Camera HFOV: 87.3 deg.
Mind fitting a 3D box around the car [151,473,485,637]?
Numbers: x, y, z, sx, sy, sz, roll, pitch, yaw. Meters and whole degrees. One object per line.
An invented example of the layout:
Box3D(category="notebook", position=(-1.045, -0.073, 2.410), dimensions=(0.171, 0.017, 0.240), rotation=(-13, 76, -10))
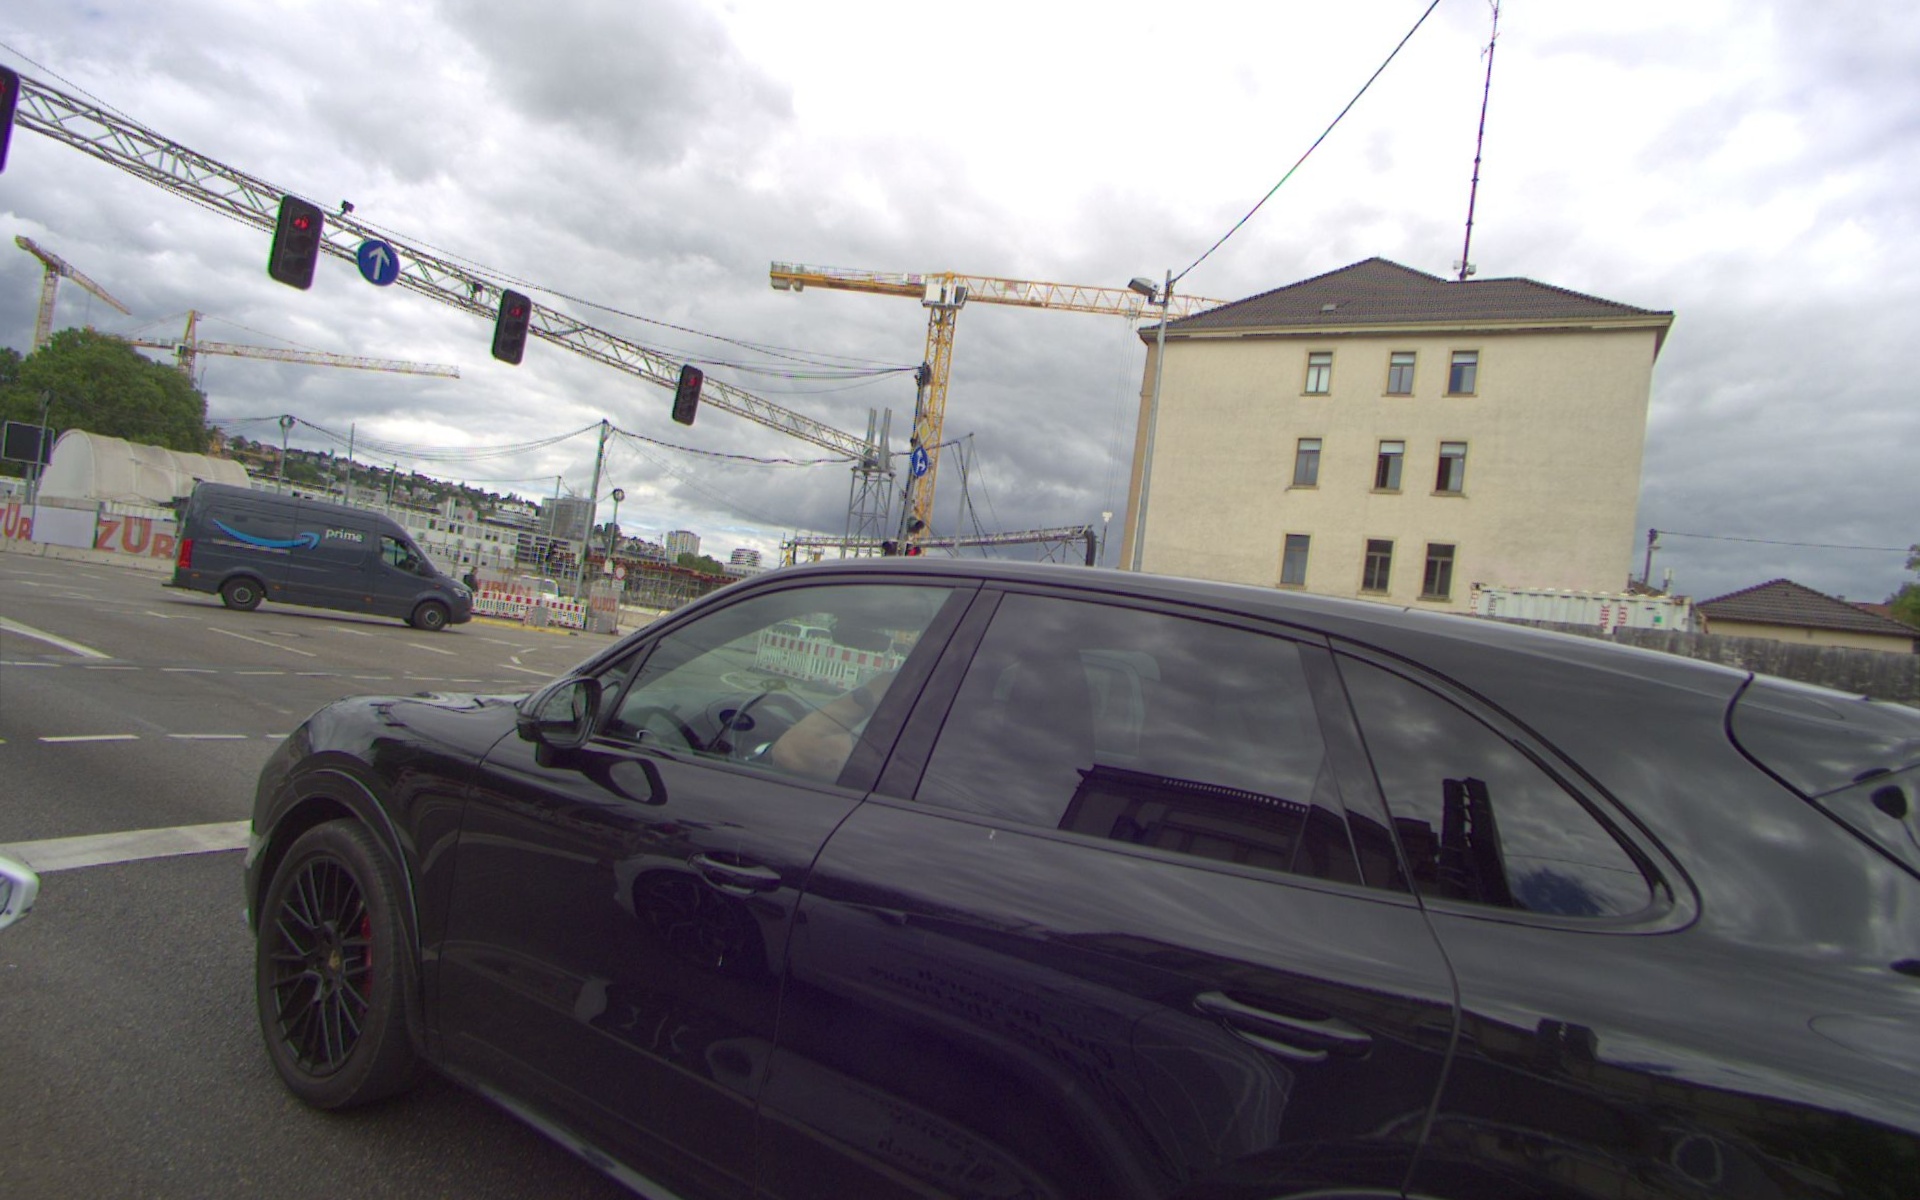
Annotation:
Box3D(category="car", position=(-14.409, -0.890, 22.942), dimensions=(5.968, 2.623, 2.043), rotation=(10, -2, -37))

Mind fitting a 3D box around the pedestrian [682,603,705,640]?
Box3D(category="pedestrian", position=(-13.708, 1.116, 51.734), dimensions=(0.607, 1.816, 0.654), rotation=(7, -1, 23))

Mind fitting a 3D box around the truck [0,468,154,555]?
Box3D(category="truck", position=(-57.894, -5.797, 61.930), dimensions=(3.875, 4.086, 13.089), rotation=(8, -2, 12))

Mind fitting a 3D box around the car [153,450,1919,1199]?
Box3D(category="car", position=(0.042, 0.717, 2.697), dimensions=(4.559, 1.705, 1.959), rotation=(7, -2, 33))

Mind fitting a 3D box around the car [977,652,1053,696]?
Box3D(category="car", position=(2.664, 3.577, 48.199), dimensions=(1.770, 1.687, 4.062), rotation=(7, -3, 31))

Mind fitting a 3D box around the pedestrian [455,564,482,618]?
Box3D(category="pedestrian", position=(-19.167, -0.350, 39.229), dimensions=(0.647, 2.037, 0.513), rotation=(8, -1, -33))

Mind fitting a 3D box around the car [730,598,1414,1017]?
Box3D(category="car", position=(0.598, 1.045, 6.373), dimensions=(3.818, 1.561, 1.667), rotation=(7, -2, 33))

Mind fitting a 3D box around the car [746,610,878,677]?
Box3D(category="car", position=(-5.050, 1.553, 34.913), dimensions=(1.854, 1.755, 4.438), rotation=(7, -3, 34))
